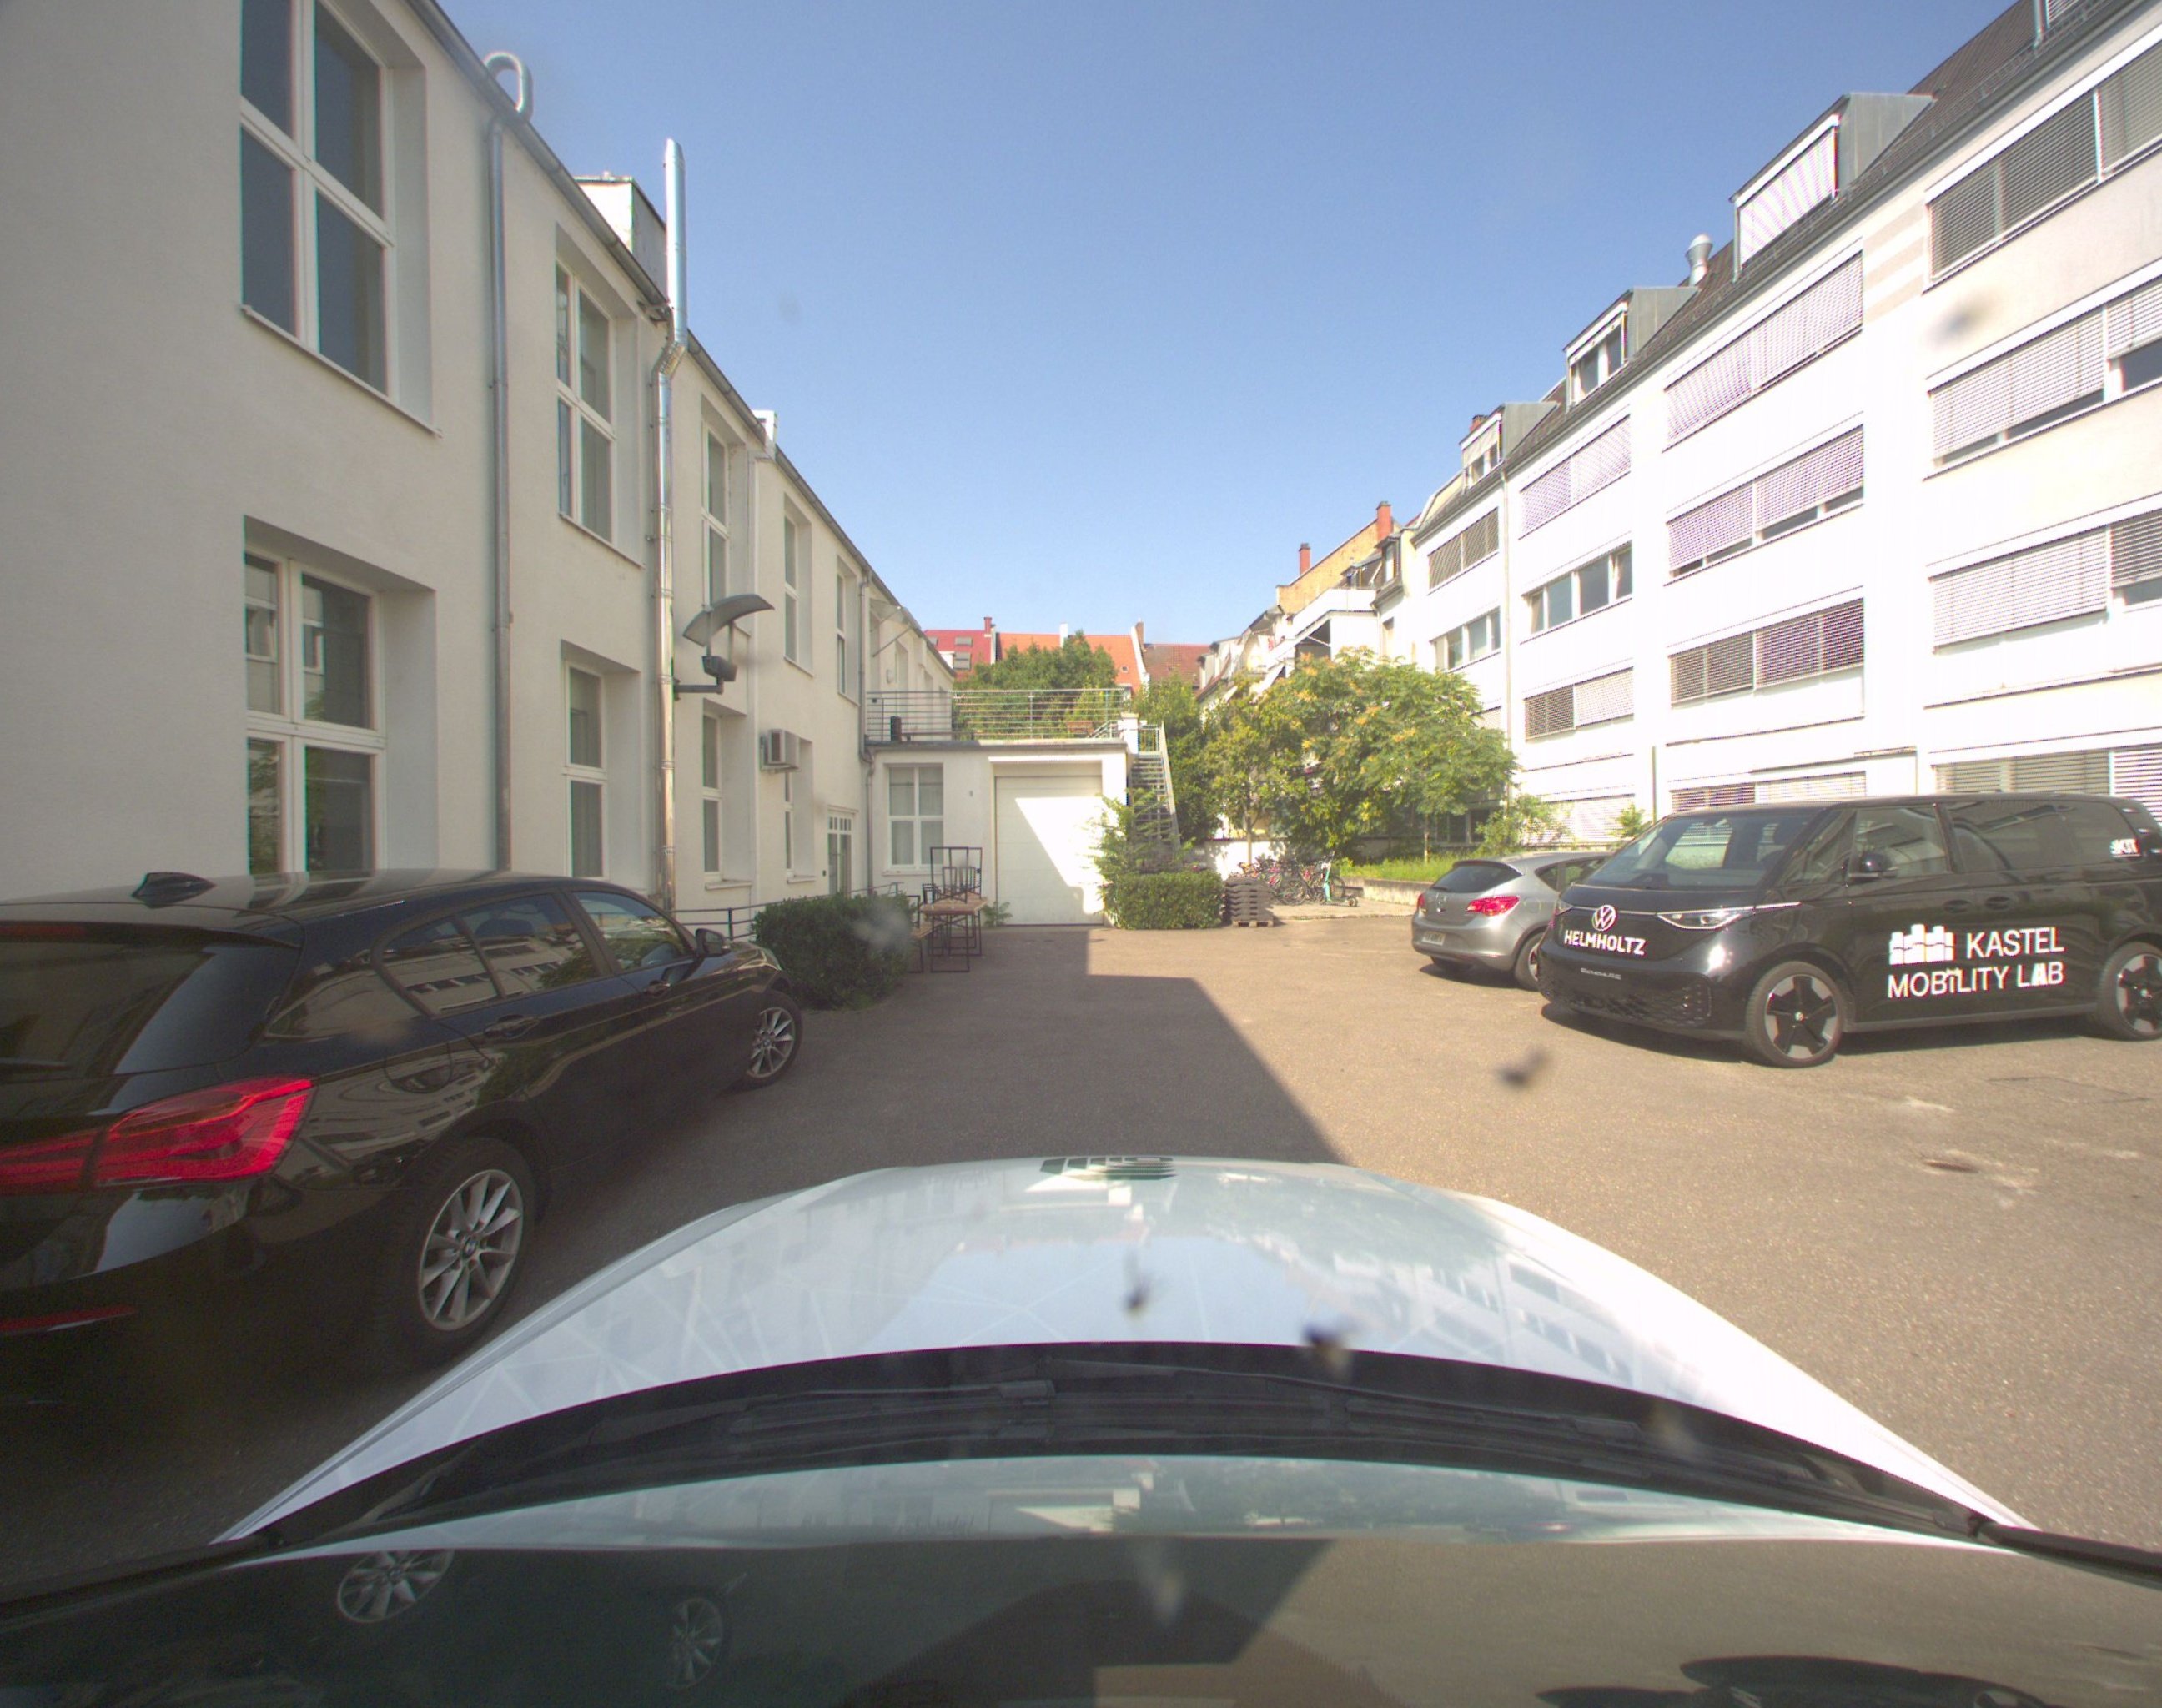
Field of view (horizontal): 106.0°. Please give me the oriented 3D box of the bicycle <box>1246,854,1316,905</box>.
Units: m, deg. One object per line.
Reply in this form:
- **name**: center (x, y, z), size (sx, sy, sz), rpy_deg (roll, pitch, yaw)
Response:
- **bicycle**: center (4.951, 0.635, 20.194), size (1.617, 1.214, 0.327), rpy_deg (-2, 0, 2)

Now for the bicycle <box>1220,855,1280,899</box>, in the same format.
- **bicycle**: center (4.890, 0.656, 23.539), size (1.620, 1.214, 0.423), rpy_deg (-2, 0, -5)

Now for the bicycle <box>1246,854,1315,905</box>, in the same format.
- **bicycle**: center (5.022, 0.637, 20.515), size (1.617, 1.214, 0.327), rpy_deg (-2, 0, 2)

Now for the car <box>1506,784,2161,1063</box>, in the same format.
- **car**: center (6.134, 0.435, 6.614), size (4.499, 1.794, 1.877), rpy_deg (-1, -1, -9)

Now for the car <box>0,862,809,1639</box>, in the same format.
- **car**: center (-2.651, 0.777, 3.499), size (1.683, 1.459, 3.921), rpy_deg (0, 0, -1)

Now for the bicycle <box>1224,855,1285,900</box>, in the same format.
- **bicycle**: center (4.885, 0.653, 22.936), size (1.620, 1.214, 0.423), rpy_deg (-2, 0, -5)

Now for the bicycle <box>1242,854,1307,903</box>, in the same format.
- **bicycle**: center (5.040, 0.641, 21.260), size (1.613, 1.214, 0.328), rpy_deg (-2, 0, 10)

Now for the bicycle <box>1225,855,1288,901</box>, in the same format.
- **bicycle**: center (4.791, 0.650, 22.302), size (1.618, 1.214, 0.424), rpy_deg (-2, 0, -1)

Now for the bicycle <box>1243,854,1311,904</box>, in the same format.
- **bicycle**: center (4.998, 0.639, 20.809), size (1.617, 1.214, 0.327), rpy_deg (-2, 0, 2)

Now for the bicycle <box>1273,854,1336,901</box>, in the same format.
- **bicycle**: center (6.027, 0.638, 22.018), size (1.611, 1.214, 0.425), rpy_deg (-2, 0, 13)

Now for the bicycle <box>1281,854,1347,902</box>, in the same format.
- **bicycle**: center (6.039, 0.632, 21.156), size (1.611, 1.214, 0.328), rpy_deg (-2, 0, 15)

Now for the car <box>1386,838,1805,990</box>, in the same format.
- **car**: center (5.849, 0.614, 9.499), size (3.931, 1.482, 1.769), rpy_deg (-1, -1, -9)

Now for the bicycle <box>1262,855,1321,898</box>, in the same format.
- **bicycle**: center (6.100, 0.647, 23.619), size (1.612, 1.214, 0.425), rpy_deg (-2, 0, 13)

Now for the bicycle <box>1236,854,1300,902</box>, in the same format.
- **bicycle**: center (4.968, 0.644, 21.625), size (1.611, 1.214, 0.328), rpy_deg (-2, 0, 13)

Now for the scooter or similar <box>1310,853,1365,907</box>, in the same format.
- **scooter or similar**: center (6.275, 0.629, 19.944), size (0.381, 1.261, 1.335), rpy_deg (-2, 0, -31)

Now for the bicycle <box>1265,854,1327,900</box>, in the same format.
- **bicycle**: center (5.941, 0.642, 22.594), size (1.612, 1.214, 0.425), rpy_deg (-2, 0, 13)
